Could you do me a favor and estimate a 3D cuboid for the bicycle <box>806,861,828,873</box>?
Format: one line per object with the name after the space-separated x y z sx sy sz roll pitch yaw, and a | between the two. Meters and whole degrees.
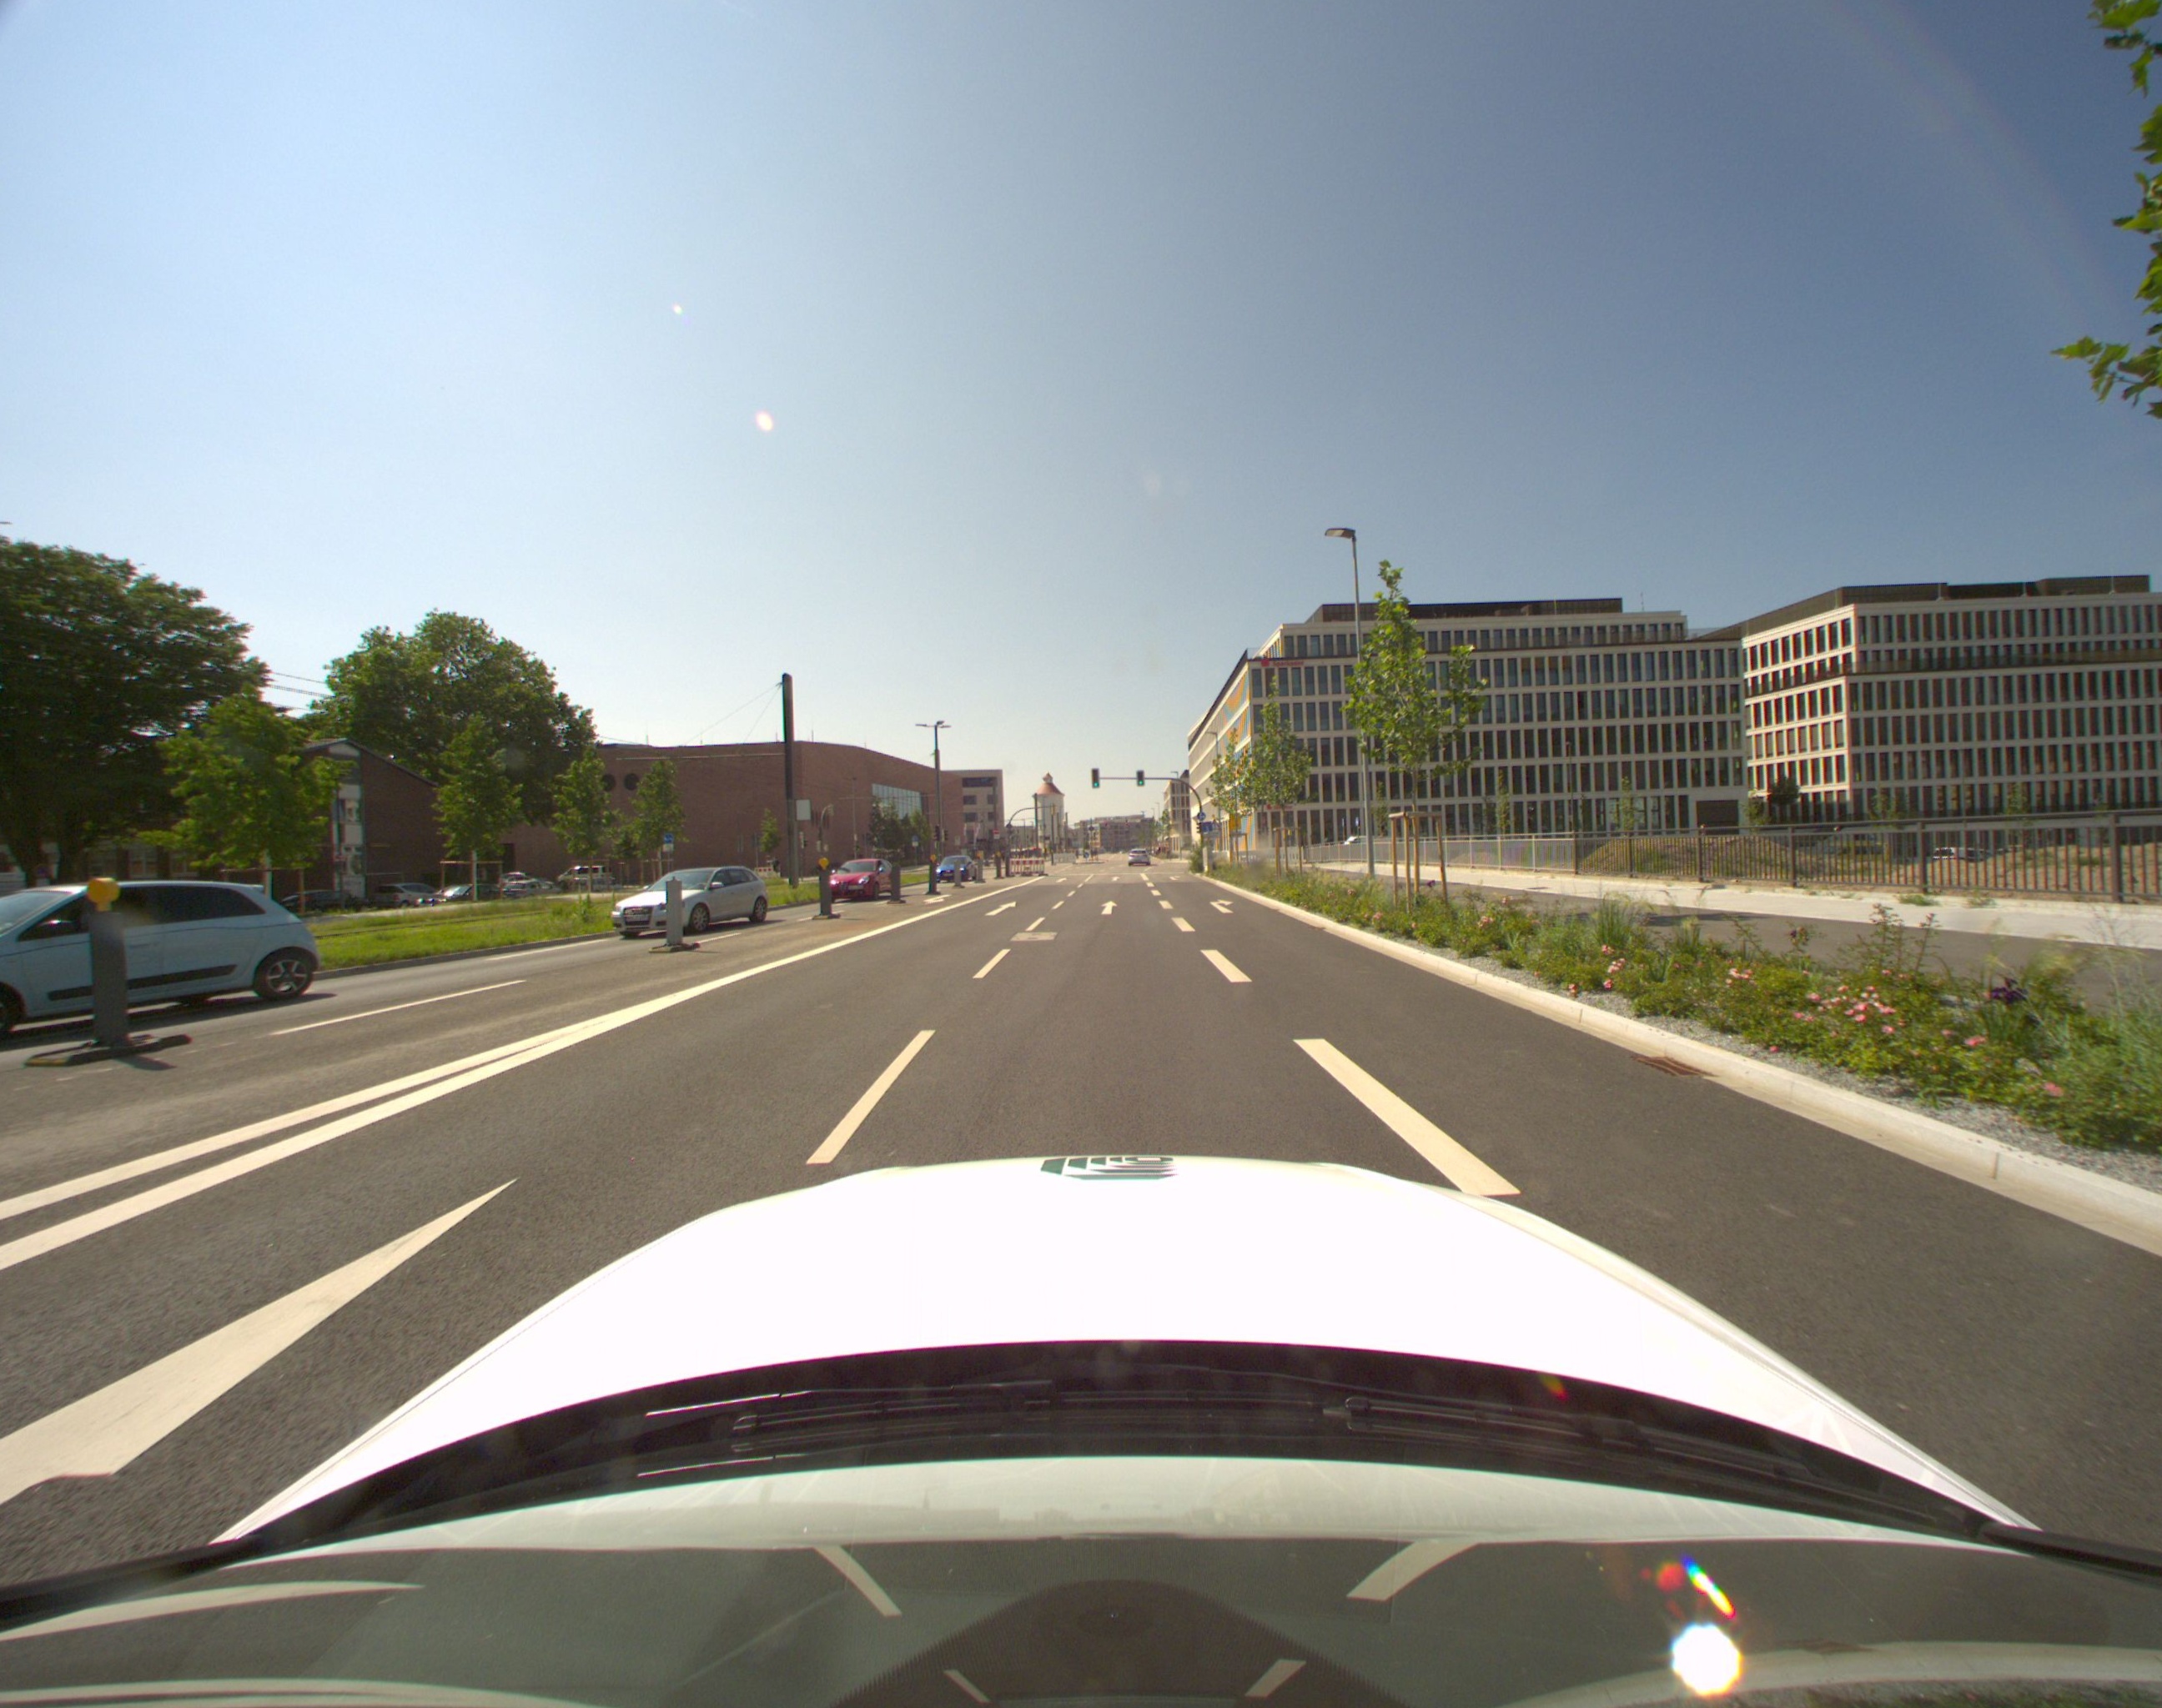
-26.896 1.336 83.079 2.050 1.212 0.538 -2 0 -8 | bicycle

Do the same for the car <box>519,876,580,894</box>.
-45.896 2.653 70.362 3.964 1.403 2.005 -2 -1 8 | car

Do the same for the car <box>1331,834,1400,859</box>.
26.520 -0.702 76.080 5.812 2.270 2.148 0 0 3 | car

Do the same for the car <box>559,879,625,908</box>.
-33.325 2.638 55.611 1.691 1.761 4.305 -2 -1 3 | car

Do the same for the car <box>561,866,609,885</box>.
-47.765 2.051 78.497 3.528 1.689 1.695 -1 1 3 | car

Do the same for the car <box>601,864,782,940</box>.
-8.708 1.002 18.667 1.571 1.416 4.305 -3 0 8 | car

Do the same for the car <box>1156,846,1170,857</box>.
11.595 -0.363 114.632 1.727 1.474 3.989 -2 0 8 | car

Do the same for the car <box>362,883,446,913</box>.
-39.602 2.568 47.736 1.532 1.457 3.791 -2 1 3 | car

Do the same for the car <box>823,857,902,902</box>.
-7.856 0.877 29.629 1.574 1.416 4.002 -3 0 3 | car

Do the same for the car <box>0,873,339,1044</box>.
-10.809 1.081 8.948 1.570 1.530 3.631 -4 0 10 | car

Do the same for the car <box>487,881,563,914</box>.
-33.731 2.613 49.565 1.691 1.761 3.943 -2 -1 4 | car

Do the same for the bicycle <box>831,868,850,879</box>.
-28.248 2.290 95.527 2.049 1.212 0.538 -2 0 -8 | bicycle

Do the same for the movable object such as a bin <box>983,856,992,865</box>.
-10.536 0.725 91.548 0.716 1.031 0.787 -2 0 -25 | movable object such as a bin

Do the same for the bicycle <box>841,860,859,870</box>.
-28.954 1.366 101.957 2.049 1.212 0.538 -2 0 -8 | bicycle

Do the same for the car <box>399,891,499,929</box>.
-34.262 3.004 44.349 1.691 1.761 4.535 -2 -1 3 | car

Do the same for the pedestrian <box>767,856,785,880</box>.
-23.988 1.109 64.048 0.807 1.847 1.109 -2 0 6 | pedestrian

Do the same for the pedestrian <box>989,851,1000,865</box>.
-9.785 0.434 91.906 0.934 1.562 0.787 -2 1 -25 | pedestrian

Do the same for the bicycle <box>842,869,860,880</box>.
-27.916 2.512 98.891 2.049 1.212 0.538 -2 0 -8 | bicycle

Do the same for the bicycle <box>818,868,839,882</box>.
-27.217 2.263 87.648 2.049 1.453 0.538 -2 0 -8 | bicycle

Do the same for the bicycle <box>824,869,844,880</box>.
-28.412 2.321 93.587 2.049 1.212 0.538 -2 0 -8 | bicycle

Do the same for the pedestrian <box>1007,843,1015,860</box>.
-7.723 -0.281 89.660 0.649 1.833 0.662 -1 1 7 | pedestrian

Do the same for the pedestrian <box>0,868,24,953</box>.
-26.148 1.360 19.311 0.978 2.013 0.911 -1 0 5 | pedestrian

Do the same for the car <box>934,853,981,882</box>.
-6.722 0.708 44.806 1.621 1.427 4.293 -3 0 3 | car

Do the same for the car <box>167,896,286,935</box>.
-39.539 2.802 37.811 1.534 1.457 3.786 -2 0 -1 | car

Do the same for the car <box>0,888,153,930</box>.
-40.998 2.186 33.176 1.534 1.457 4.264 -1 -1 -2 | car

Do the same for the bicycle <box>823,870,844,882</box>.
-27.259 2.455 89.665 2.049 1.212 0.538 -2 0 -8 | bicycle

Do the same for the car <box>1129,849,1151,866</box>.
5.137 0.307 70.536 1.763 1.395 3.536 -1 -1 5 | car
